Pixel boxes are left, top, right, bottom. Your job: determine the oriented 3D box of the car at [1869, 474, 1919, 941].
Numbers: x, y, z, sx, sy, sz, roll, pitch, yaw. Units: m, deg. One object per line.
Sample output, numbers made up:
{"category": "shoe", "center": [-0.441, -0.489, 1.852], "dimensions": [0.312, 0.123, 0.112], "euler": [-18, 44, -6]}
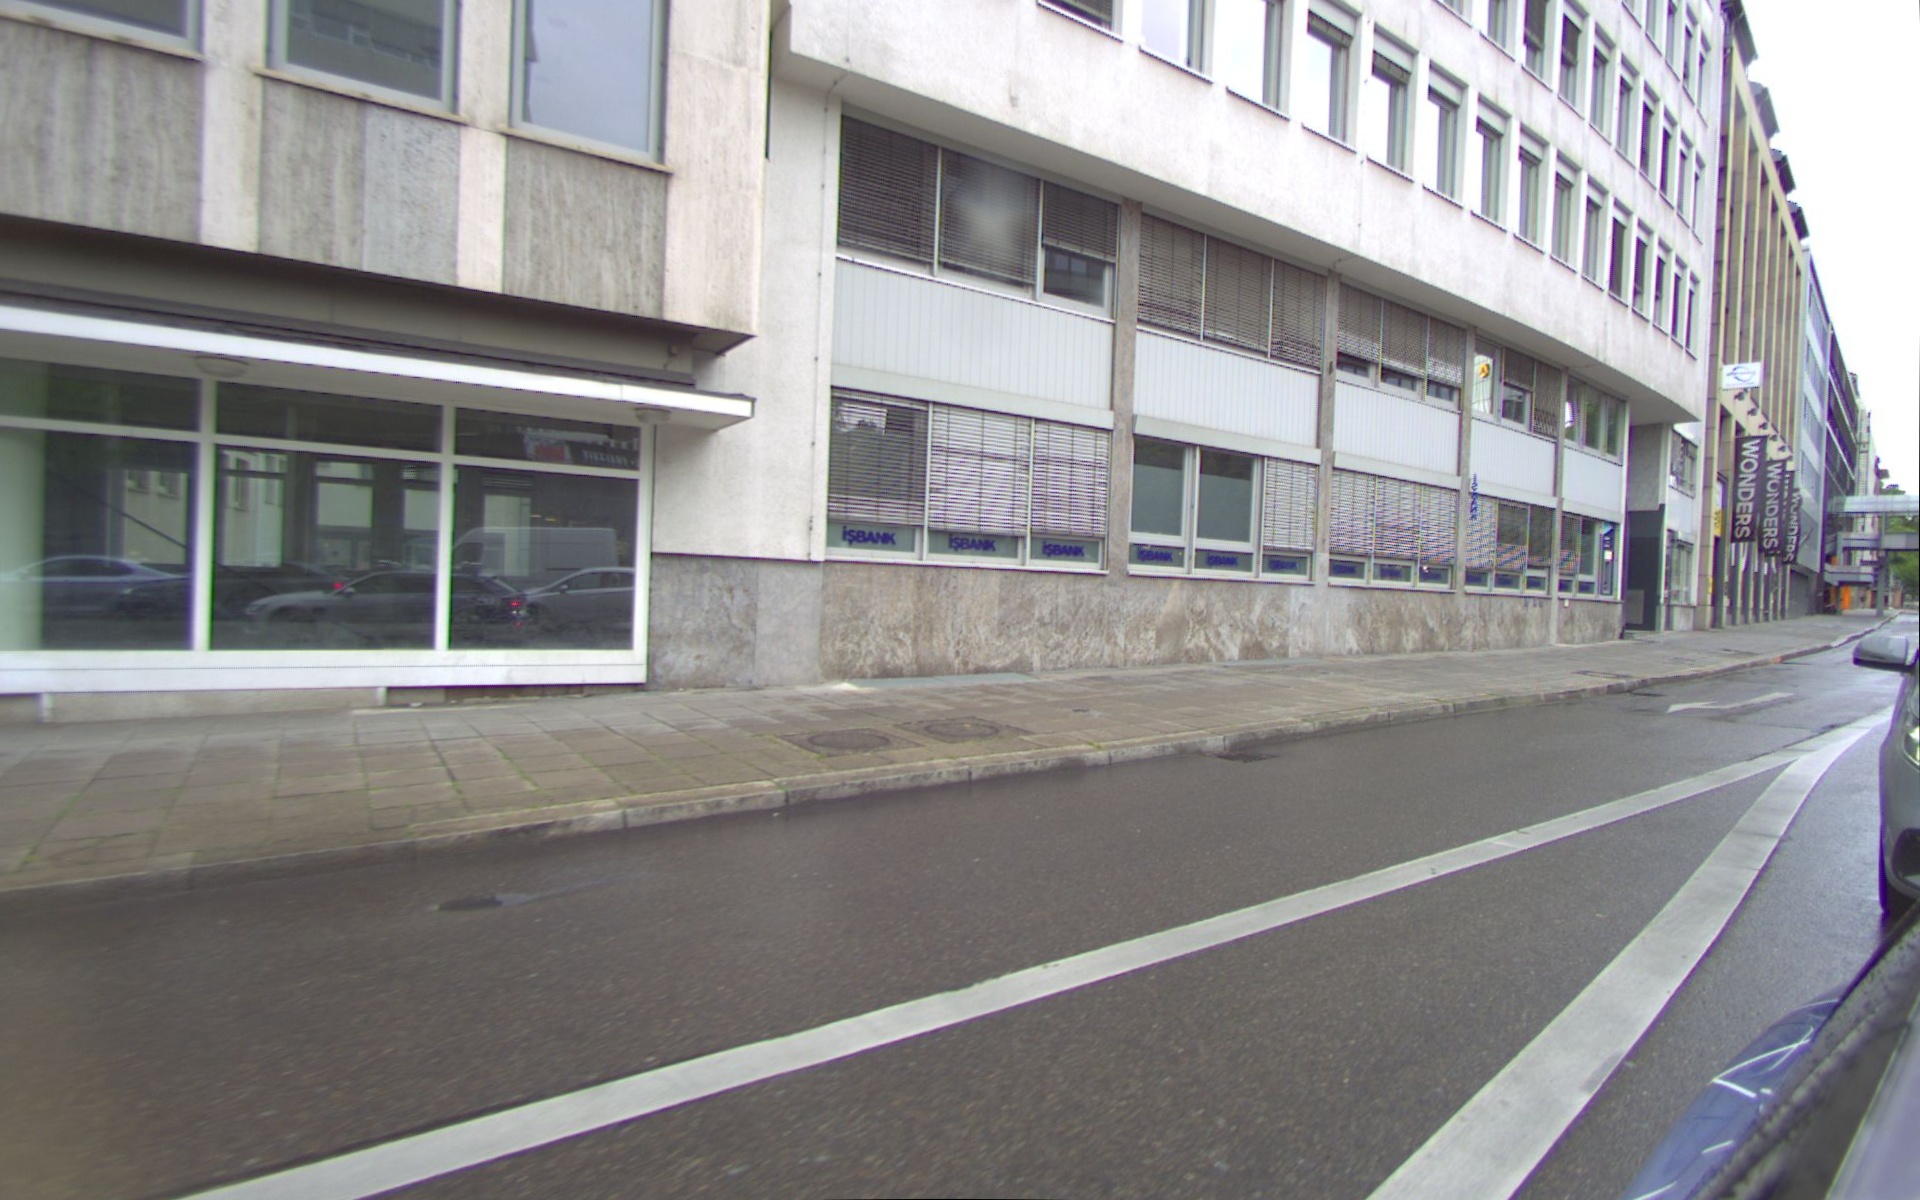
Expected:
{"category": "car", "center": [6.212, 0.431, 5.138], "dimensions": [4.941, 1.878, 1.914], "euler": [0, 0, -42]}
